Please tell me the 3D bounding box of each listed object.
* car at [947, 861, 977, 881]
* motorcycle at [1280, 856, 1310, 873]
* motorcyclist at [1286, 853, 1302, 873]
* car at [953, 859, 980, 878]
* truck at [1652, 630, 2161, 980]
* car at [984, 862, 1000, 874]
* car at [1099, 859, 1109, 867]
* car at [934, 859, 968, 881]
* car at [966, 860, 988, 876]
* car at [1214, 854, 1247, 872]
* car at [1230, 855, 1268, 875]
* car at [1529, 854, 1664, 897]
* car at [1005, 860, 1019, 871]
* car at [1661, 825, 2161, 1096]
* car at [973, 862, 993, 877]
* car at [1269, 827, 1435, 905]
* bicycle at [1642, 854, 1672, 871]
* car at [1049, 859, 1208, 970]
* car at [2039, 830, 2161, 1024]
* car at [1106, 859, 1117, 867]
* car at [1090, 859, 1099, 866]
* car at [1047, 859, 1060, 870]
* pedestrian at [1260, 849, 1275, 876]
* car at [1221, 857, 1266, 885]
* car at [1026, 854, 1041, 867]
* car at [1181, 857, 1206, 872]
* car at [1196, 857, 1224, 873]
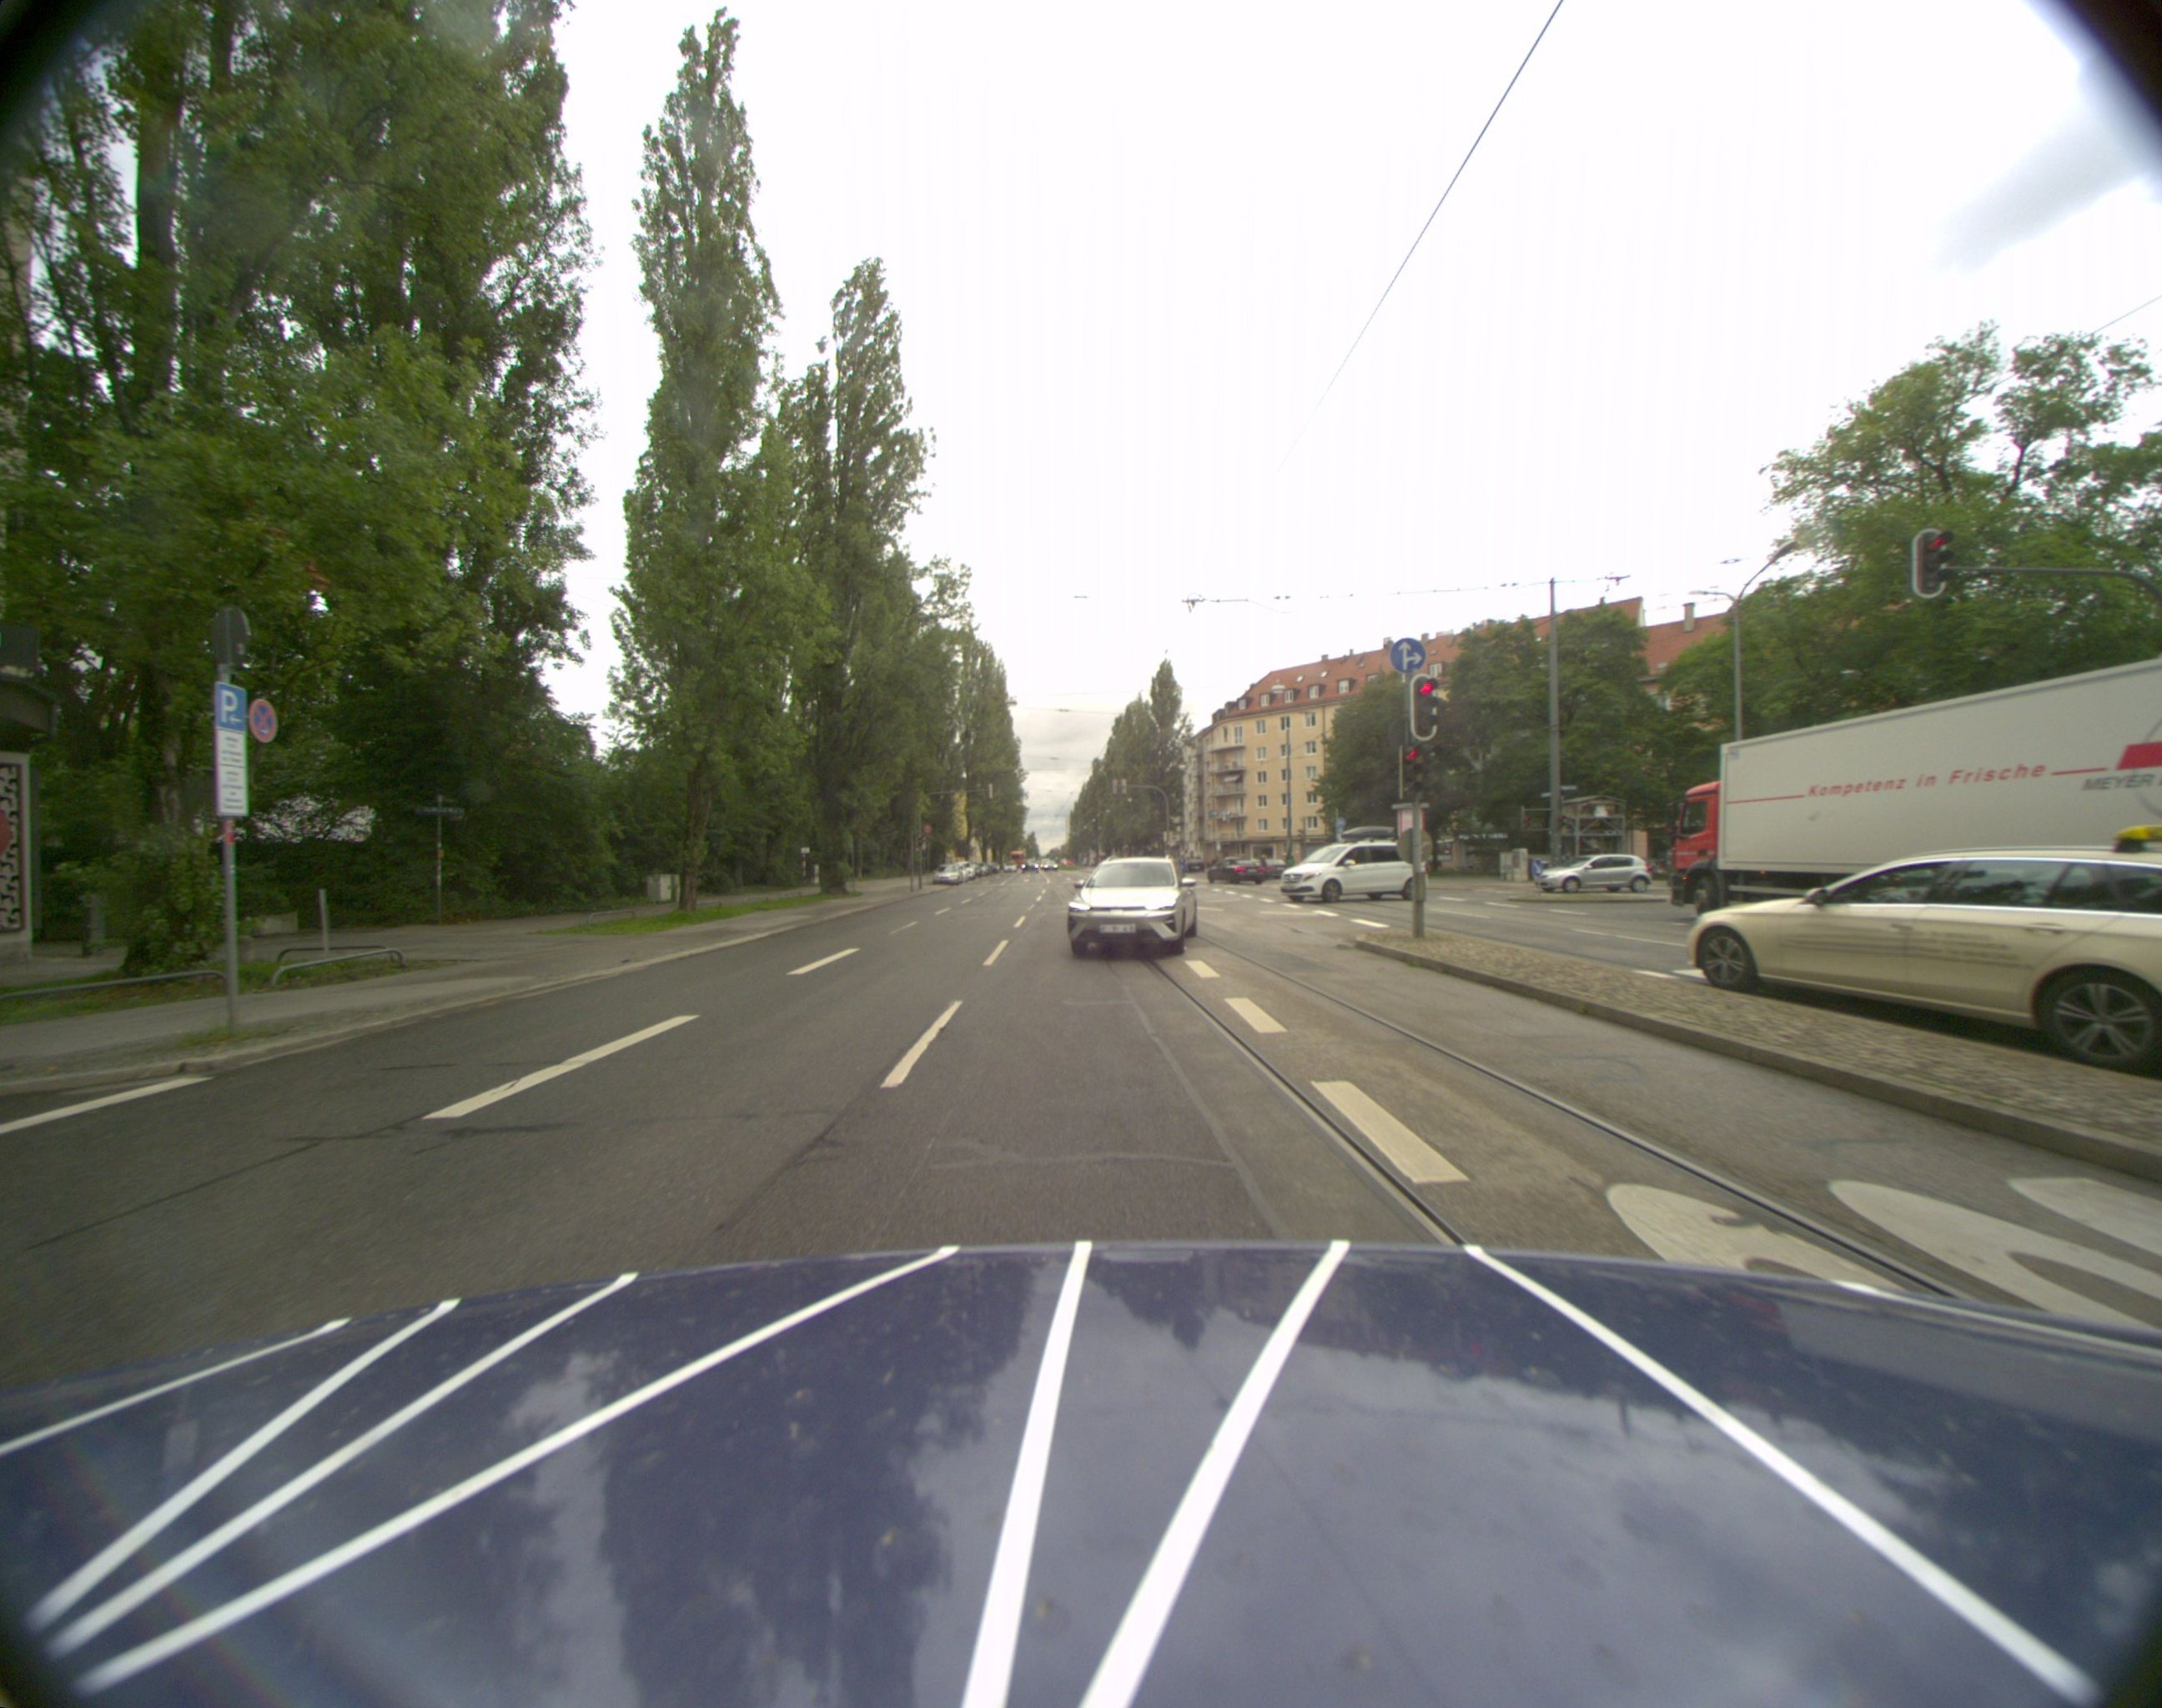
[{"bbox_3d":[-9.339,1.296,59.951,1.785,1.477,4.258,-2,0,-2],"label":"car"},{"bbox_3d":[15.764,0.807,56.011,2.023,1.164,0.631,-1,8,40],"label":"motorcycle"},{"bbox_3d":[15.704,0.655,56.071,0.879,1.435,0.621,-2,5,41],"label":"motorcyclist"},{"bbox_3d":[-9.676,1.177,64.648,1.786,1.477,4.138,-2,0,-3],"label":"car"},{"bbox_3d":[14.050,-0.558,11.919,2.744,3.957,11.722,0,0,8],"label":"truck"},{"bbox_3d":[-11.593,1.839,99.279,1.786,1.477,4.138,-2,0,-3],"label":"car"},{"bbox_3d":[5.228,2.187,174.482,1.818,1.707,3.999,-2,-2,-5],"label":"car"},{"bbox_3d":[-9.143,1.096,53.725,1.786,1.477,4.351,-2,0,-2],"label":"car"},{"bbox_3d":[-10.199,1.362,74.744,1.786,1.477,4.138,-2,0,-3],"label":"car"},{"bbox_3d":[12.465,0.747,63.562,1.730,1.399,4.374,-1,0,-3],"label":"car"},{"bbox_3d":[12.747,0.802,58.029,1.730,1.399,4.374,-1,0,-3],"label":"car"},{"bbox_3d":[20.305,0.847,30.032,4.207,1.515,1.776,-1,-1,-5],"label":"car"},{"bbox_3d":[-9.882,1.594,108.492,1.786,1.477,4.138,-2,0,-3],"label":"car"},{"bbox_3d":[7.405,0.620,6.078,1.826,1.629,4.891,-1,0,1],"label":"car"},{"bbox_3d":[-10.568,1.630,82.325,1.786,1.477,4.138,-2,0,-3],"label":"car"},{"bbox_3d":[8.786,0.334,24.672,4.949,2.337,1.911,-1,0,-19],"label":"car"},{"bbox_3d":[31.455,0.481,41.495,0.313,0.888,1.411,-2,-2,-12],"label":"bicycle"},{"bbox_3d":[0.975,0.882,12.640,1.773,1.515,4.214,-2,-1,15],"label":"car"},{"bbox_3d":[10.291,0.614,4.949,1.920,1.673,4.890,-1,0,0],"label":"car"},{"bbox_3d":[6.502,1.929,163.709,1.818,1.461,3.999,-2,-2,-5],"label":"car"},{"bbox_3d":[3.663,2.338,205.554,1.999,1.695,3.999,-2,-2,-5],"label":"car"},{"bbox_3d":[-3.933,1.468,108.262,1.786,1.477,4.138,-2,0,-3],"label":"car"},{"bbox_3d":[11.305,0.510,46.115,0.550,1.652,0.704,-3,-2,42],"label":"pedestrian"},{"bbox_3d":[8.870,0.892,41.832,1.727,1.381,4.800,-1,0,4],"label":"car"},{"bbox_3d":[-5.713,0.725,91.555,1.786,1.477,4.138,-2,0,-3],"label":"car"},{"bbox_3d":[11.599,1.044,78.387,1.730,1.399,4.474,-1,0,-3],"label":"car"},{"bbox_3d":[12.021,1.043,70.997,1.730,1.399,4.374,-1,0,-3],"label":"car"}]
